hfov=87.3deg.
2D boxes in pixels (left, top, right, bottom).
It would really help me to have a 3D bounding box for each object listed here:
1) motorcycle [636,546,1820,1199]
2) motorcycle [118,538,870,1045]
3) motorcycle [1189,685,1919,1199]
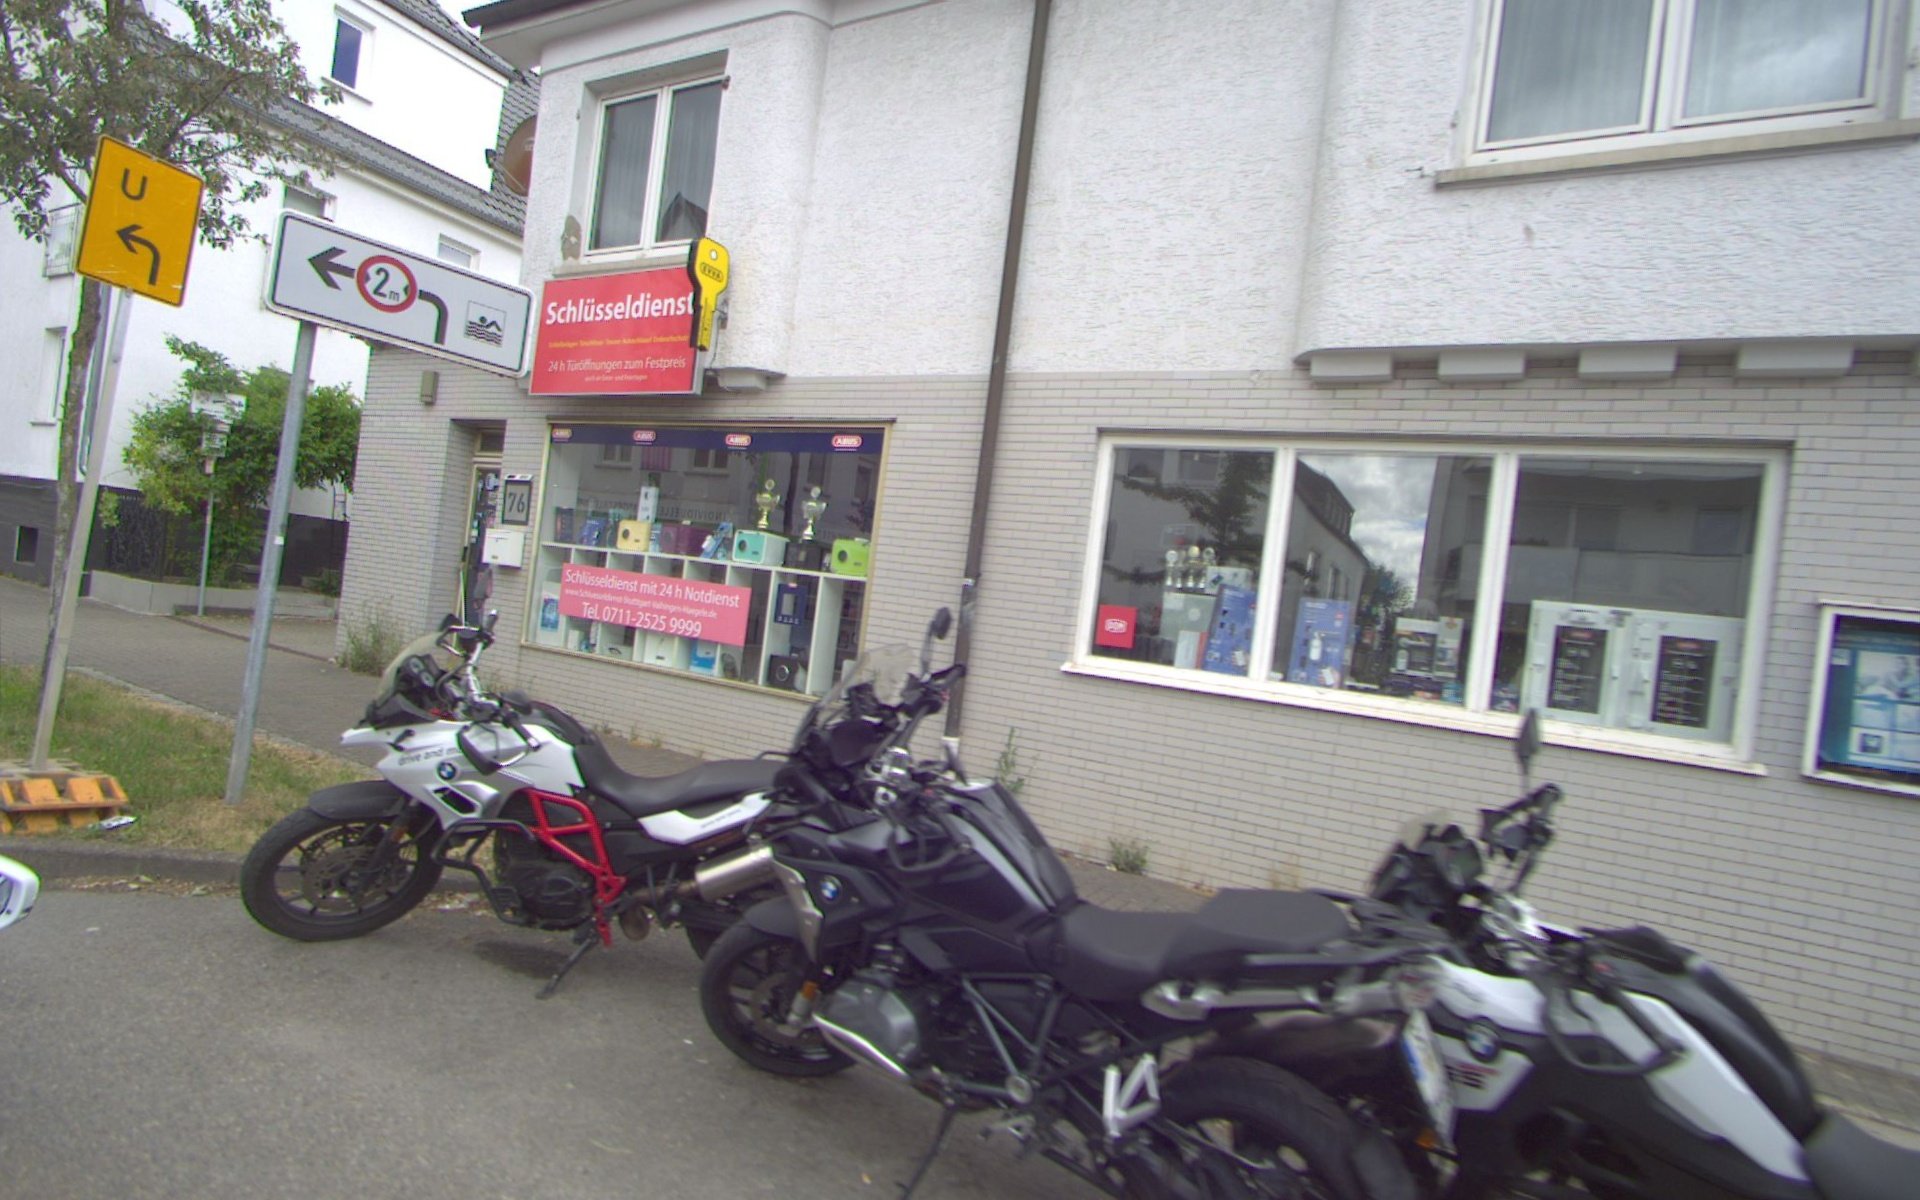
[{"bbox_3d":[0.330,0.754,2.488,2.559,1.542,0.671,7,-1,38],"label":"motorcycle"},{"bbox_3d":[-1.518,0.661,3.679,2.204,1.397,0.775,8,-1,-6],"label":"motorcycle"},{"bbox_3d":[1.711,1.069,1.965,0.645,1.457,2.442,8,-1,-39],"label":"motorcycle"}]
